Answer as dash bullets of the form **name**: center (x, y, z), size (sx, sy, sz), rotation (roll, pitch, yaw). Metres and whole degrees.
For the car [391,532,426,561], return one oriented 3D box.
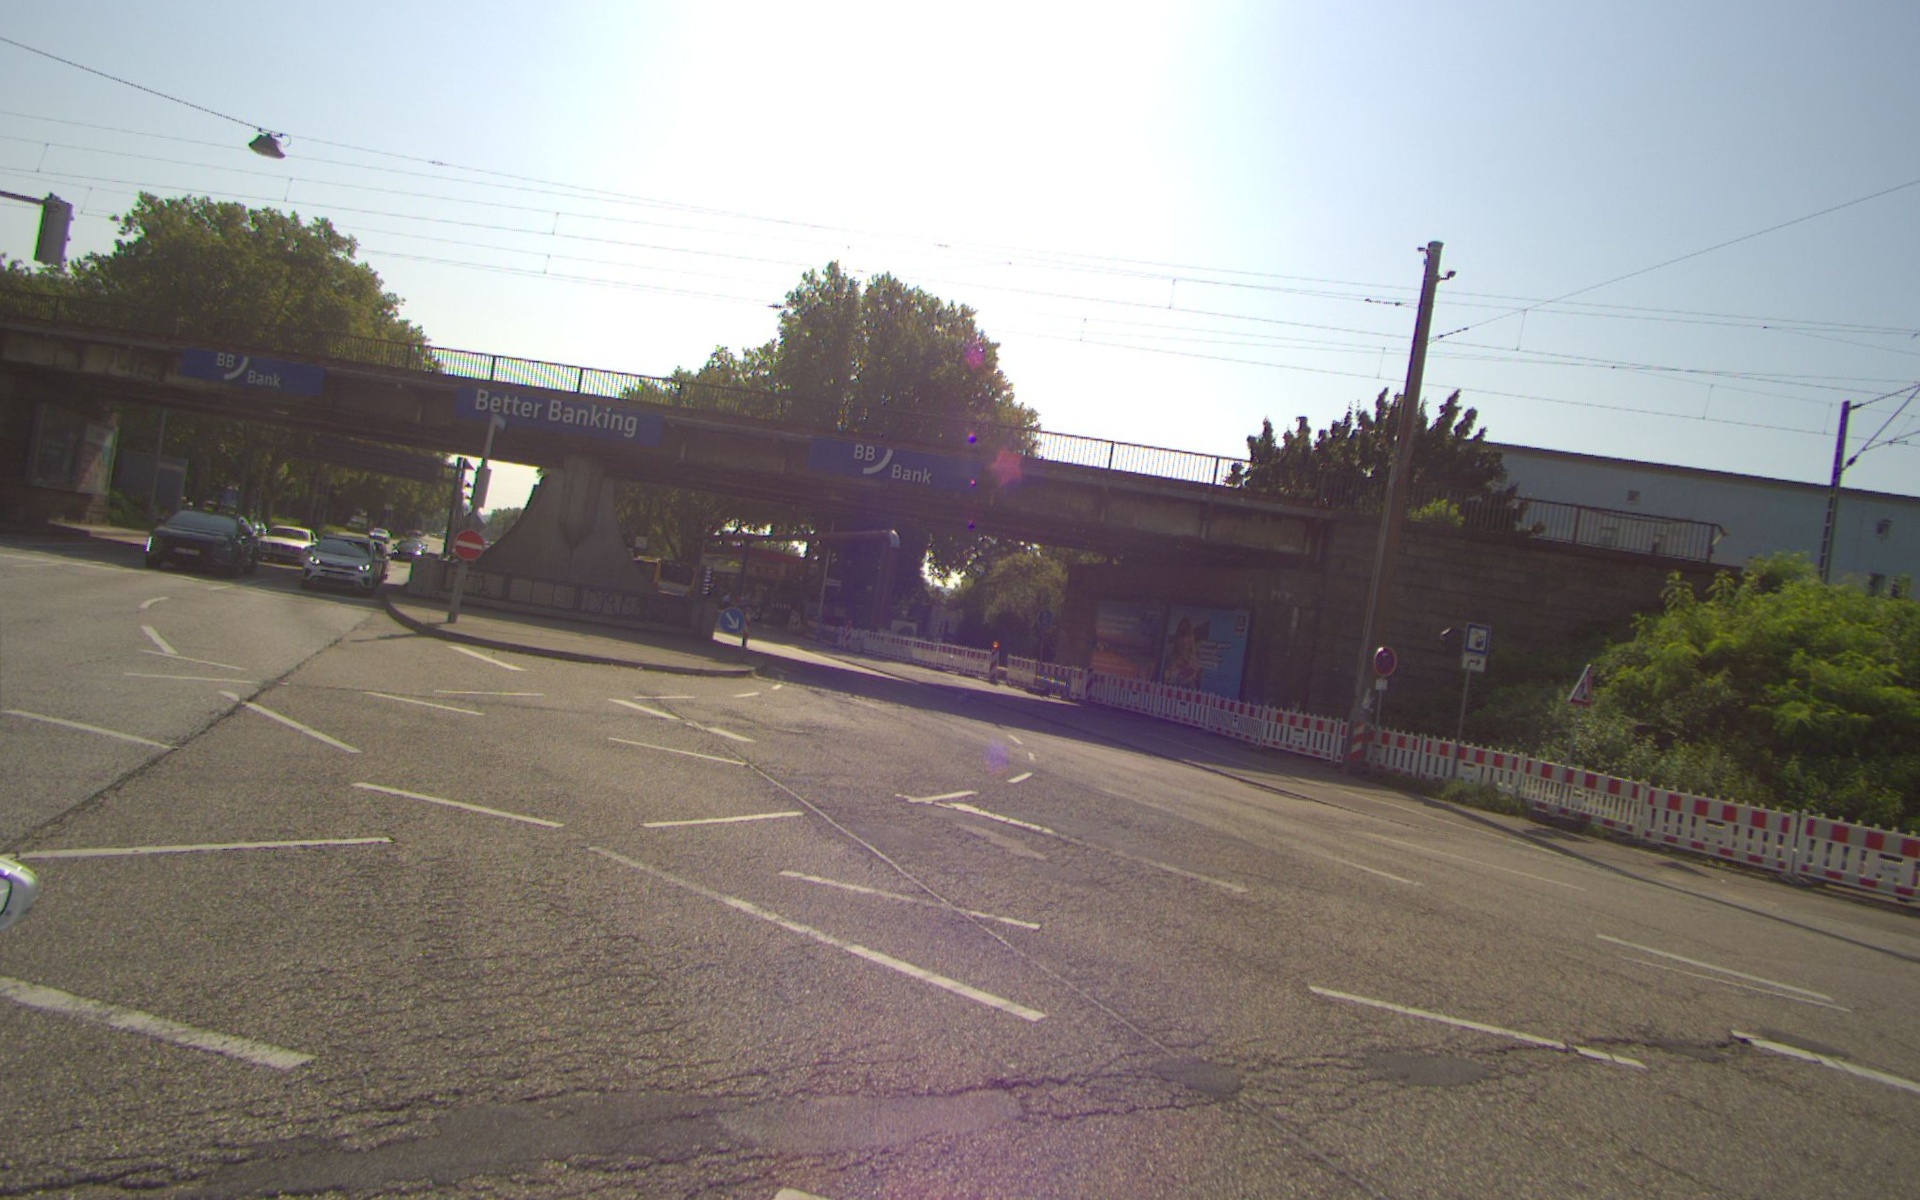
- **car**: center (-36.862, -3.602, 67.190), size (1.839, 1.500, 4.152), rotation (11, -1, -30)

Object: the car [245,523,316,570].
- **car**: center (-26.092, -2.082, 38.738), size (1.679, 1.375, 3.970), rotation (13, -3, -29)

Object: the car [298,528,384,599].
- **car**: center (-16.715, -1.015, 27.312), size (1.709, 1.556, 3.667), rotation (9, -1, -30)

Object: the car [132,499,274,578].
- **car**: center (-19.893, -1.560, 26.649), size (1.884, 1.636, 4.449), rotation (8, -1, -24)

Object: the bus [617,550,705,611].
- **bus**: center (-20.376, -1.464, 67.781), size (3.114, 3.144, 12.208), rotation (13, -3, -26)

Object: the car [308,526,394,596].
- **car**: center (-18.913, -1.274, 31.403), size (1.981, 1.591, 4.311), rotation (11, 0, -30)

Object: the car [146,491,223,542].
- **car**: center (-36.264, -3.855, 47.139), size (1.981, 1.868, 3.970), rotation (13, -3, -29)

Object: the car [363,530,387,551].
- **car**: center (-68.550, -6.947, 117.833), size (1.981, 2.034, 3.970), rotation (12, -3, -29)
